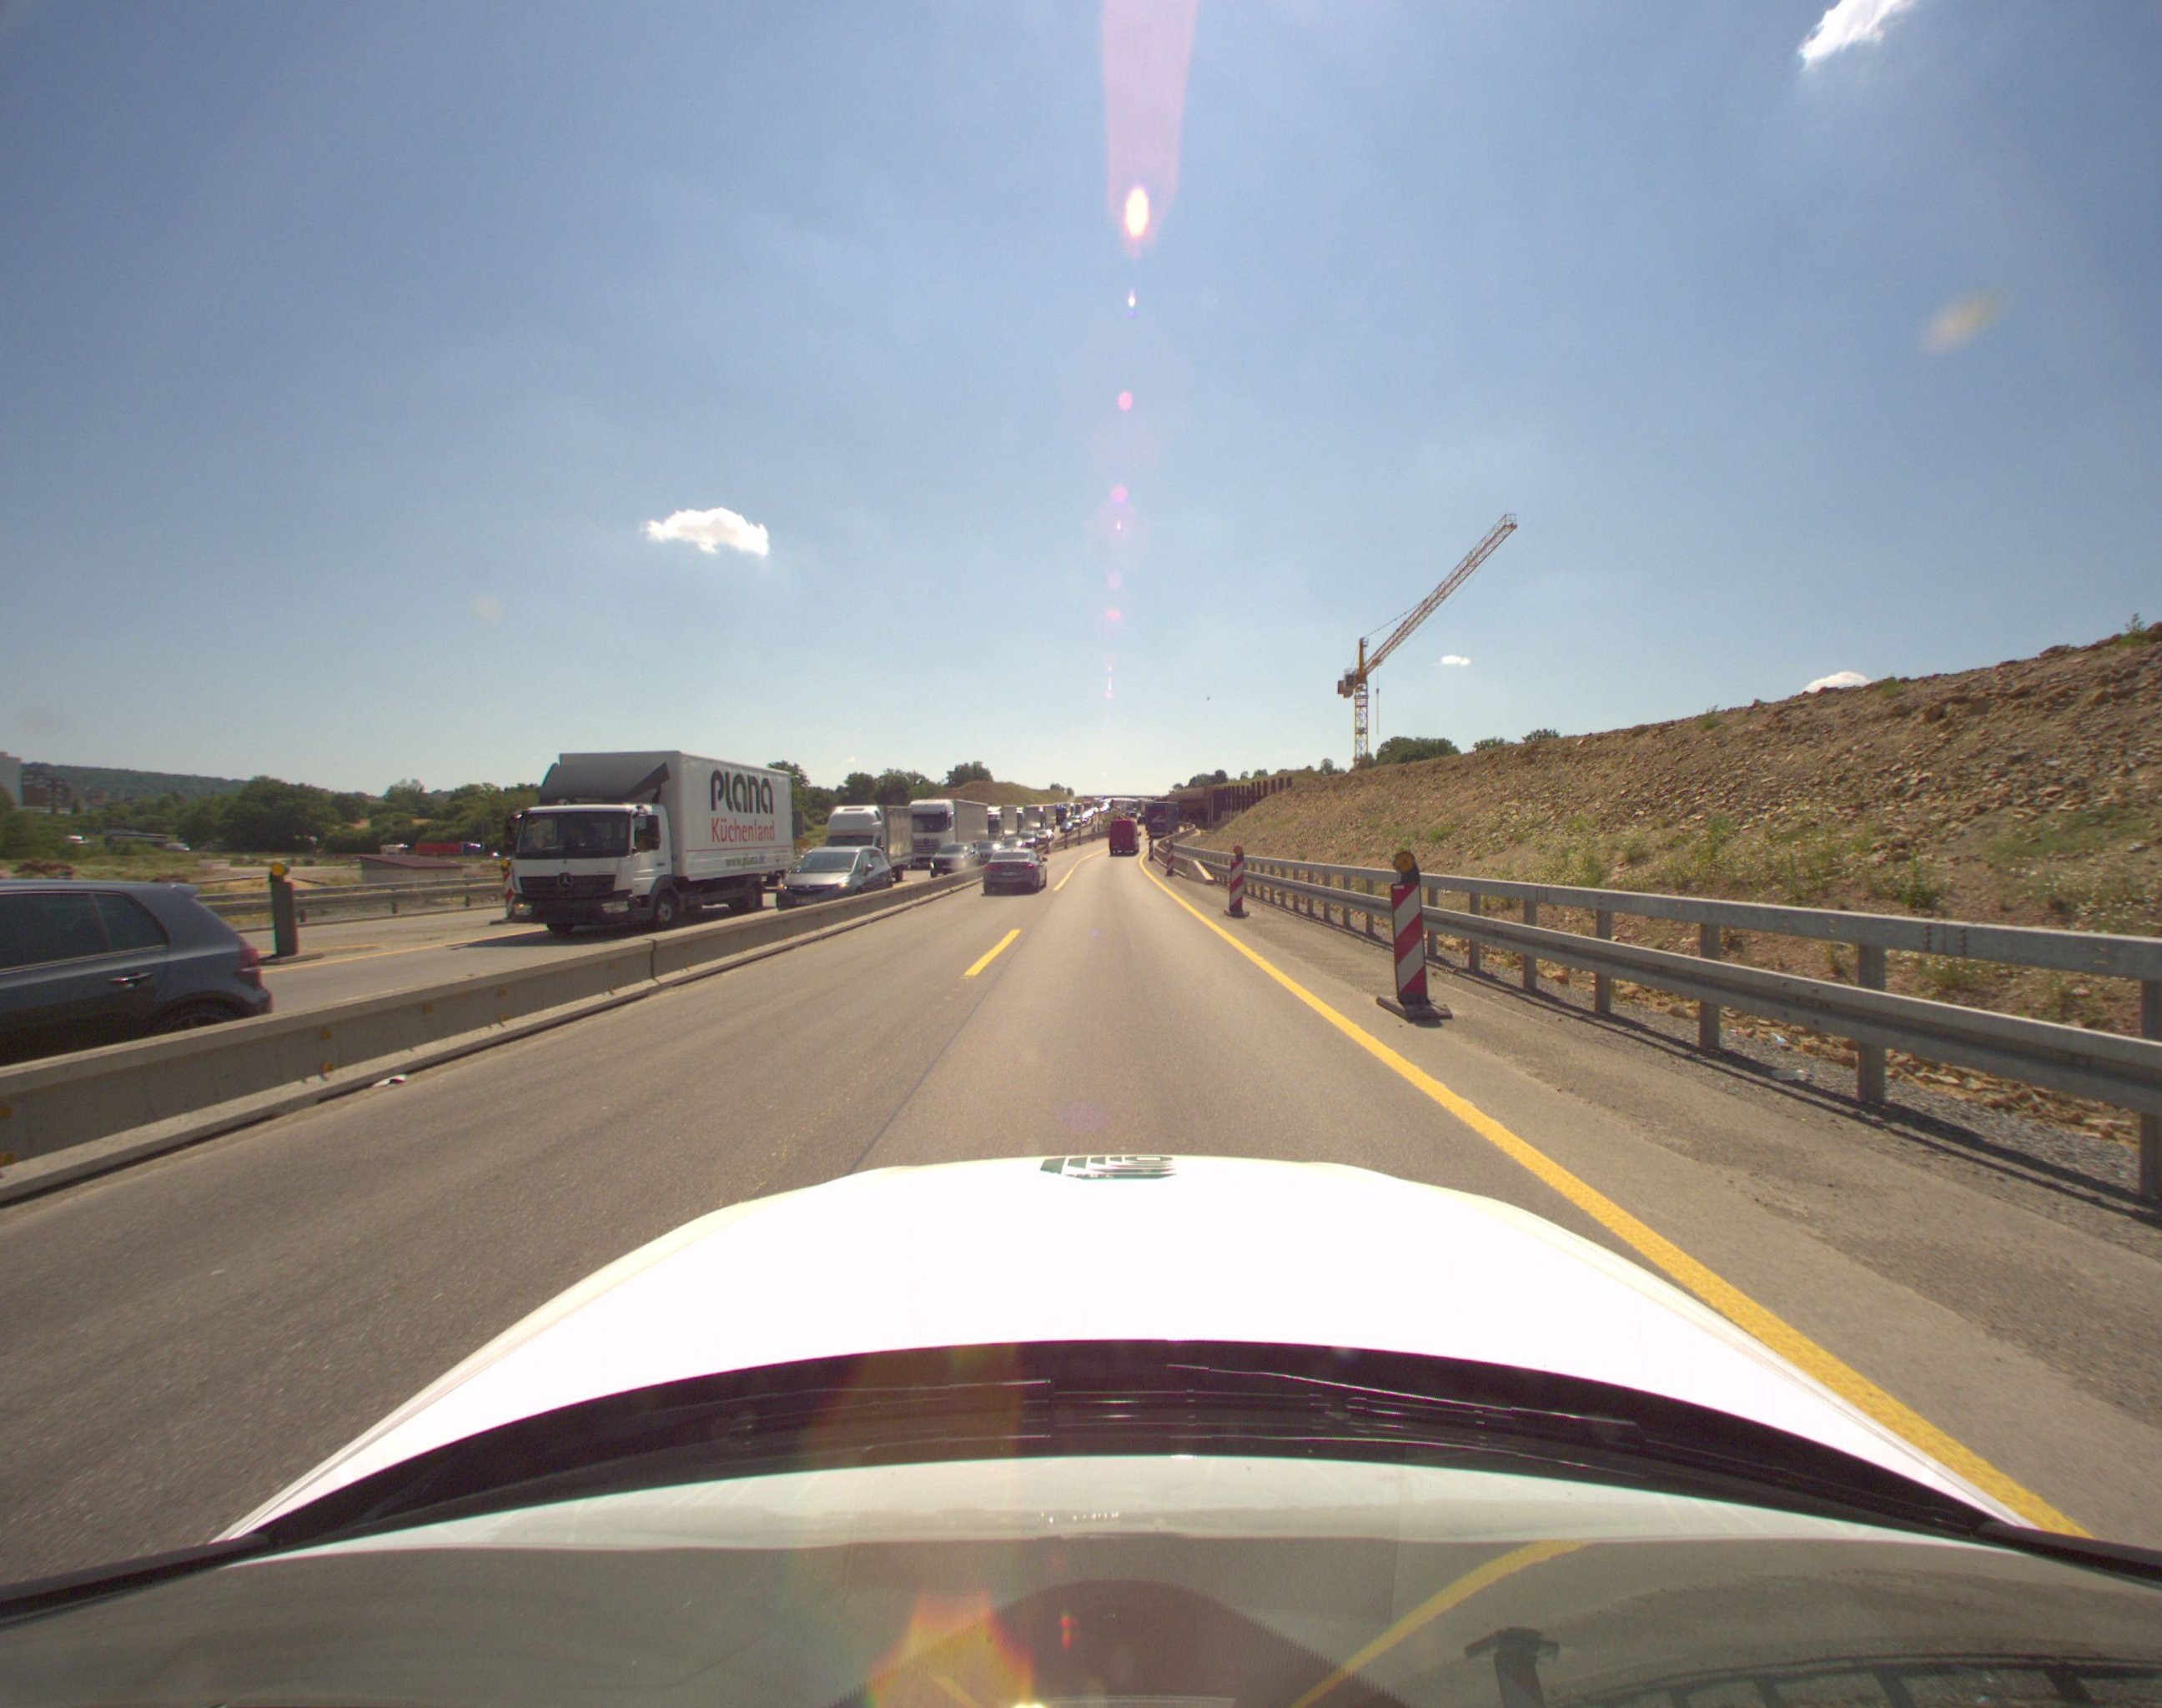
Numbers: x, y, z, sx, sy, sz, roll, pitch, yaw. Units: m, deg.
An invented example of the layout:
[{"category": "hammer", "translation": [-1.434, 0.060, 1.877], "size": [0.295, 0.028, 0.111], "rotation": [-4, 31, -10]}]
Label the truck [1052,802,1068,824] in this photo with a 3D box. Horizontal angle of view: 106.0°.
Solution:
[{"category": "truck", "translation": [-3.899, -7.745, 153.775], "size": [2.878, 3.839, 8.001], "rotation": [-1, 1, 0]}]

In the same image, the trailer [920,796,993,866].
[{"category": "trailer", "translation": [-8.269, -1.493, 55.804], "size": [2.585, 4.257, 12.474], "rotation": [-1, 1, 2]}]

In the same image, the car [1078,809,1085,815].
[{"category": "car", "translation": [0.097, -11.986, 234.342], "size": [1.945, 1.530, 4.268], "rotation": [-1, 1, 1]}]

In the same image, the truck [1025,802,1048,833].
[{"category": "truck", "translation": [-5.933, -4.875, 110.370], "size": [2.675, 3.839, 7.385], "rotation": [-1, 1, 0]}]

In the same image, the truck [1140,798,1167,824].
[{"category": "truck", "translation": [16.139, -9.320, 180.320], "size": [5.132, 4.996, 13.905], "rotation": [-3, 1, 7]}]

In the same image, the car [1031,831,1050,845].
[{"category": "car", "translation": [-4.292, -1.693, 86.741], "size": [1.740, 1.409, 4.002], "rotation": [-1, 1, 2]}]

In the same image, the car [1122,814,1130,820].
[{"category": "car", "translation": [11.905, -9.756, 214.131], "size": [1.945, 1.530, 4.269], "rotation": [-1, 0, 2]}]

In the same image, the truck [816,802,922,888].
[{"category": "truck", "translation": [-8.561, -0.427, 33.771], "size": [2.426, 3.148, 7.024], "rotation": [-1, 1, 0]}]

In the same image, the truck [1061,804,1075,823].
[{"category": "truck", "translation": [-2.988, -9.266, 186.763], "size": [2.878, 3.839, 8.001], "rotation": [-1, 1, 0]}]

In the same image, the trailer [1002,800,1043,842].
[{"category": "trailer", "translation": [-6.765, -3.771, 96.412], "size": [3.028, 4.552, 12.143], "rotation": [-1, 1, 4]}]

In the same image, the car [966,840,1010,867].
[{"category": "car", "translation": [-5.504, -0.065, 48.527], "size": [1.895, 1.376, 4.548], "rotation": [-3, 1, 1]}]

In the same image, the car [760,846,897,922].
[{"category": "car", "translation": [-6.019, 0.638, 20.031], "size": [1.820, 1.651, 4.548], "rotation": [0, 0, 1]}]

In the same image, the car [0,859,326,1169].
[{"category": "car", "translation": [-6.580, 0.866, 3.793], "size": [1.986, 1.557, 4.340], "rotation": [-1, 1, 1]}]

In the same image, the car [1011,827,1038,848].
[{"category": "car", "translation": [-4.807, -1.408, 69.767], "size": [1.987, 1.783, 4.000], "rotation": [-1, 1, 0]}]

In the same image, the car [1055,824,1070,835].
[{"category": "car", "translation": [-2.730, -3.533, 118.999], "size": [1.945, 1.530, 4.269], "rotation": [-1, 1, 2]}]

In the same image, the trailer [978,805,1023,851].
[{"category": "trailer", "translation": [-7.460, -2.276, 76.705], "size": [2.773, 3.931, 11.011], "rotation": [-1, 0, 1]}]

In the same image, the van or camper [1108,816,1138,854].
[{"category": "van or camper", "translation": [3.134, -1.388, 61.562], "size": [2.023, 2.744, 4.515], "rotation": [-1, 1, 0]}]

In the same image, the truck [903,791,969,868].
[{"category": "truck", "translation": [-8.527, -1.429, 48.655], "size": [2.542, 4.231, 6.532], "rotation": [-1, 1, 1]}]

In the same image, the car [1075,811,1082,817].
[{"category": "car", "translation": [-0.612, -11.094, 227.862], "size": [1.945, 1.530, 4.268], "rotation": [-1, 1, 1]}]

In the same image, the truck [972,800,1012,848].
[{"category": "truck", "translation": [-7.637, -2.511, 70.586], "size": [2.773, 3.869, 5.460], "rotation": [-1, -1, 0]}]

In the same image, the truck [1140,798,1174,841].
[{"category": "truck", "translation": [9.110, -4.030, 96.393], "size": [3.000, 4.692, 6.957], "rotation": [-2, 1, 12]}]

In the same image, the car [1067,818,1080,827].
[{"category": "car", "translation": [-1.309, -5.388, 139.898], "size": [1.945, 1.530, 4.269], "rotation": [-1, 1, 2]}]

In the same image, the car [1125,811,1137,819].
[{"category": "car", "translation": [11.556, -8.841, 186.767], "size": [2.275, 1.530, 4.368], "rotation": [-3, 0, 9]}]

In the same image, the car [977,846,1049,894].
[{"category": "car", "translation": [-2.190, 0.502, 27.544], "size": [1.845, 1.452, 4.744], "rotation": [-1, 0, 2]}]

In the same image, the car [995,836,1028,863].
[{"category": "car", "translation": [-4.964, -0.347, 58.541], "size": [1.987, 1.783, 4.000], "rotation": [-1, 1, 0]}]

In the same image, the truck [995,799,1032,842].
[{"category": "truck", "translation": [-7.344, -3.622, 89.546], "size": [3.039, 4.480, 5.987], "rotation": [-1, 1, 4]}]

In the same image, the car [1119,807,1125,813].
[{"category": "car", "translation": [12.928, -13.953, 256.650], "size": [1.945, 1.640, 4.269], "rotation": [-1, 1, 2]}]

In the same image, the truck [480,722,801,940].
[{"category": "truck", "translation": [-9.350, -0.463, 18.858], "size": [2.516, 3.855, 8.673], "rotation": [-1, 1, 1]}]

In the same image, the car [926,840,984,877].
[{"category": "car", "translation": [-5.736, 0.187, 37.698], "size": [1.820, 1.535, 4.548], "rotation": [-2, 0, 1]}]

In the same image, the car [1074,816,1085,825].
[{"category": "car", "translation": [-0.332, -6.382, 156.554], "size": [1.945, 1.530, 4.269], "rotation": [-1, 1, 2]}]
